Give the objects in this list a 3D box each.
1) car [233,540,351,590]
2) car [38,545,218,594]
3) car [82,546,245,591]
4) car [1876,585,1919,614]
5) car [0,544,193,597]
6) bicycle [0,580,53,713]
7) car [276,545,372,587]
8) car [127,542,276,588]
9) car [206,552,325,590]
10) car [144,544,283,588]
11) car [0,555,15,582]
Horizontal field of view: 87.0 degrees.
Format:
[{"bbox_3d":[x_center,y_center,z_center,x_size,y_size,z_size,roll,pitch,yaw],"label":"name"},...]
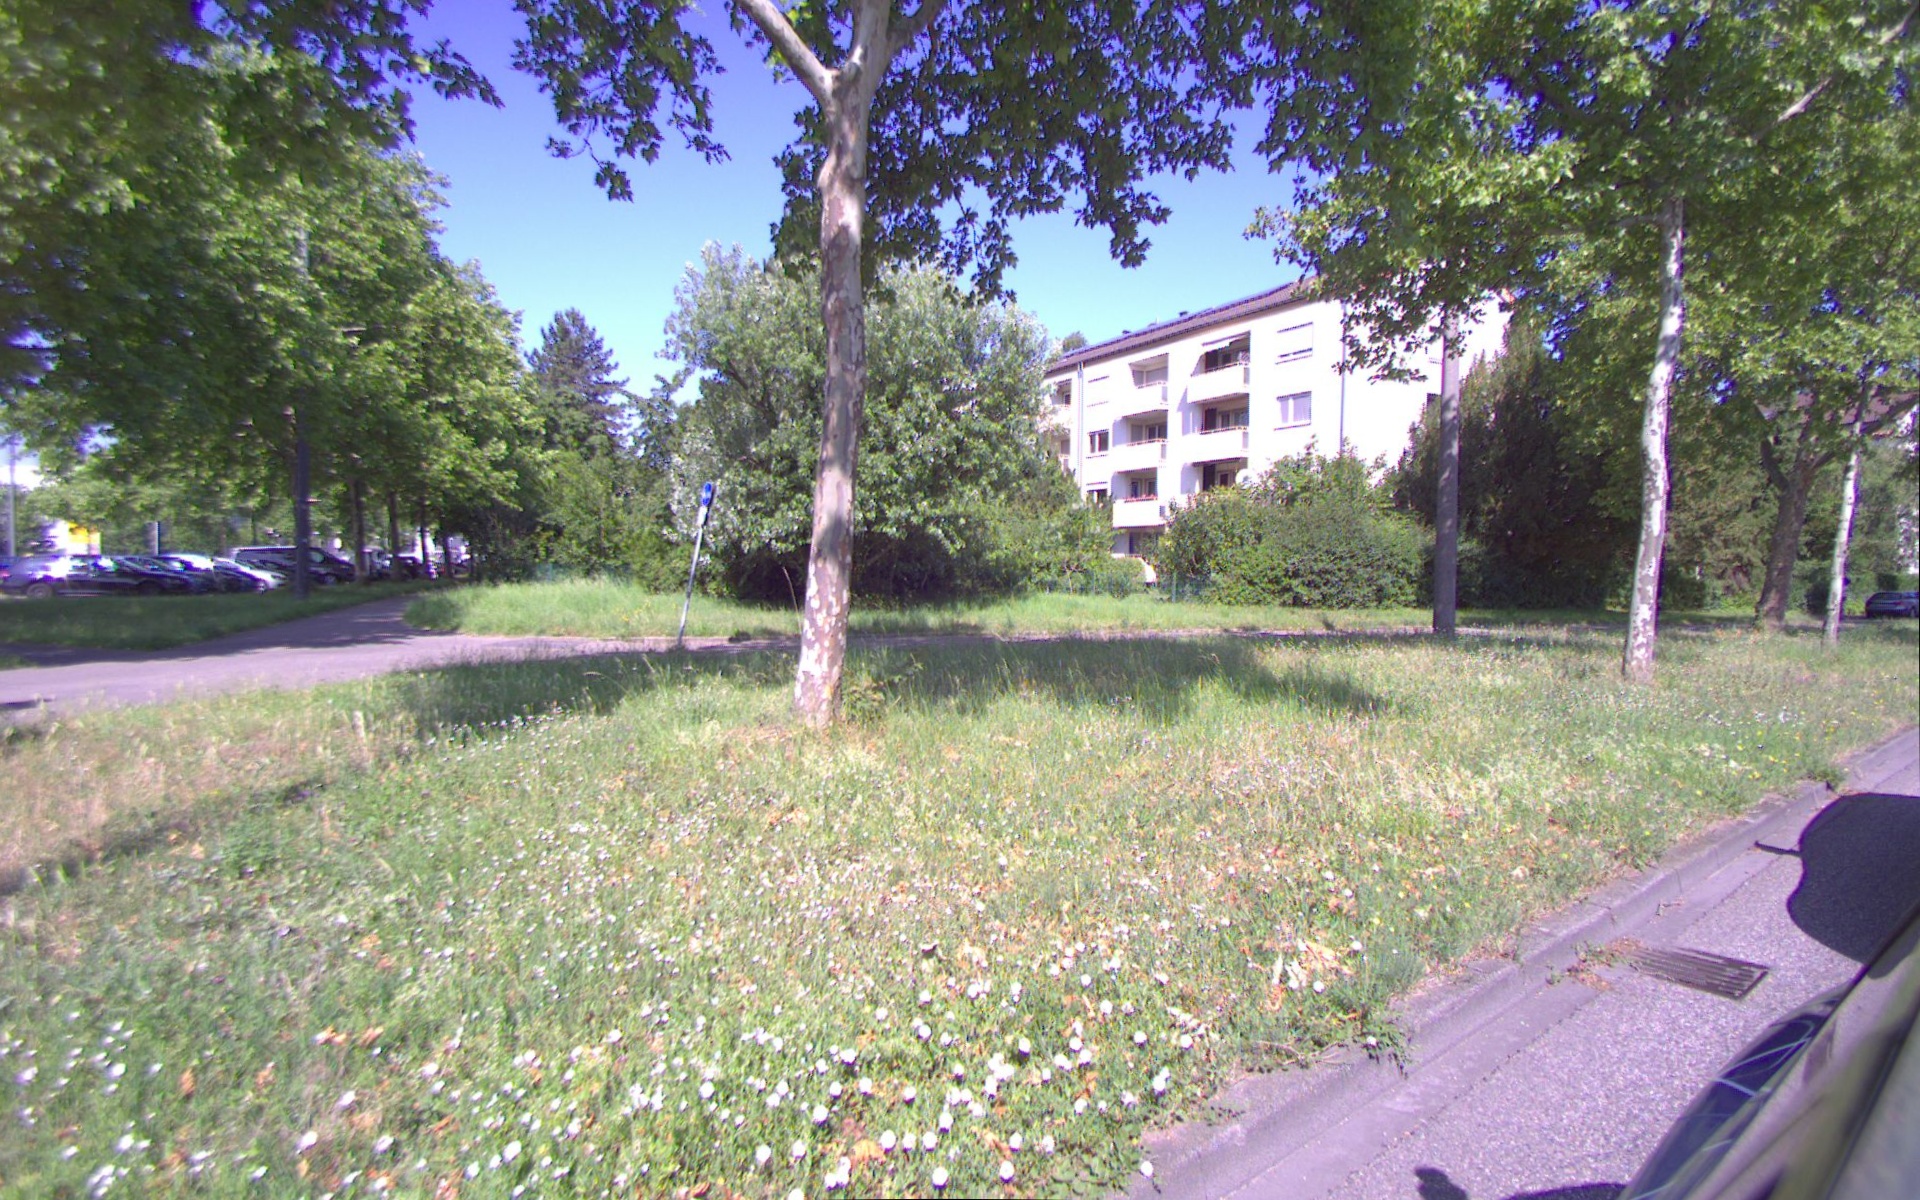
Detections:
[{"bbox_3d":[-32.189,-1.667,48.924,4.494,2.318,2.004,0,2,-24],"label":"car"},{"bbox_3d":[-27.152,-0.991,33.231,4.267,1.509,2.003,0,2,-29],"label":"car"},{"bbox_3d":[-27.988,-1.101,35.760,4.267,1.509,2.003,0,2,-29],"label":"car"},{"bbox_3d":[47.653,-0.029,50.437,4.004,1.389,1.510,0,2,-25],"label":"car"},{"bbox_3d":[-26.090,-0.900,30.675,4.267,1.509,2.003,-1,2,-29],"label":"car"},{"bbox_3d":[-9.453,0.435,8.902,0.689,1.200,2.100,2,2,34],"label":"bicycle"},{"bbox_3d":[-35.816,-1.904,57.146,4.497,2.236,2.003,0,2,-29],"label":"car"},{"bbox_3d":[-28.666,-1.280,38.423,4.267,1.653,2.002,0,0,-29],"label":"car"},{"bbox_3d":[-31.409,-1.320,45.903,4.267,1.653,2.003,0,2,-29],"label":"car"},{"bbox_3d":[-29.873,-1.359,40.670,4.267,1.653,2.003,0,2,-29],"label":"car"},{"bbox_3d":[-64.753,-2.070,66.327,1.991,1.816,3.941,0,0,41],"label":"car"}]
